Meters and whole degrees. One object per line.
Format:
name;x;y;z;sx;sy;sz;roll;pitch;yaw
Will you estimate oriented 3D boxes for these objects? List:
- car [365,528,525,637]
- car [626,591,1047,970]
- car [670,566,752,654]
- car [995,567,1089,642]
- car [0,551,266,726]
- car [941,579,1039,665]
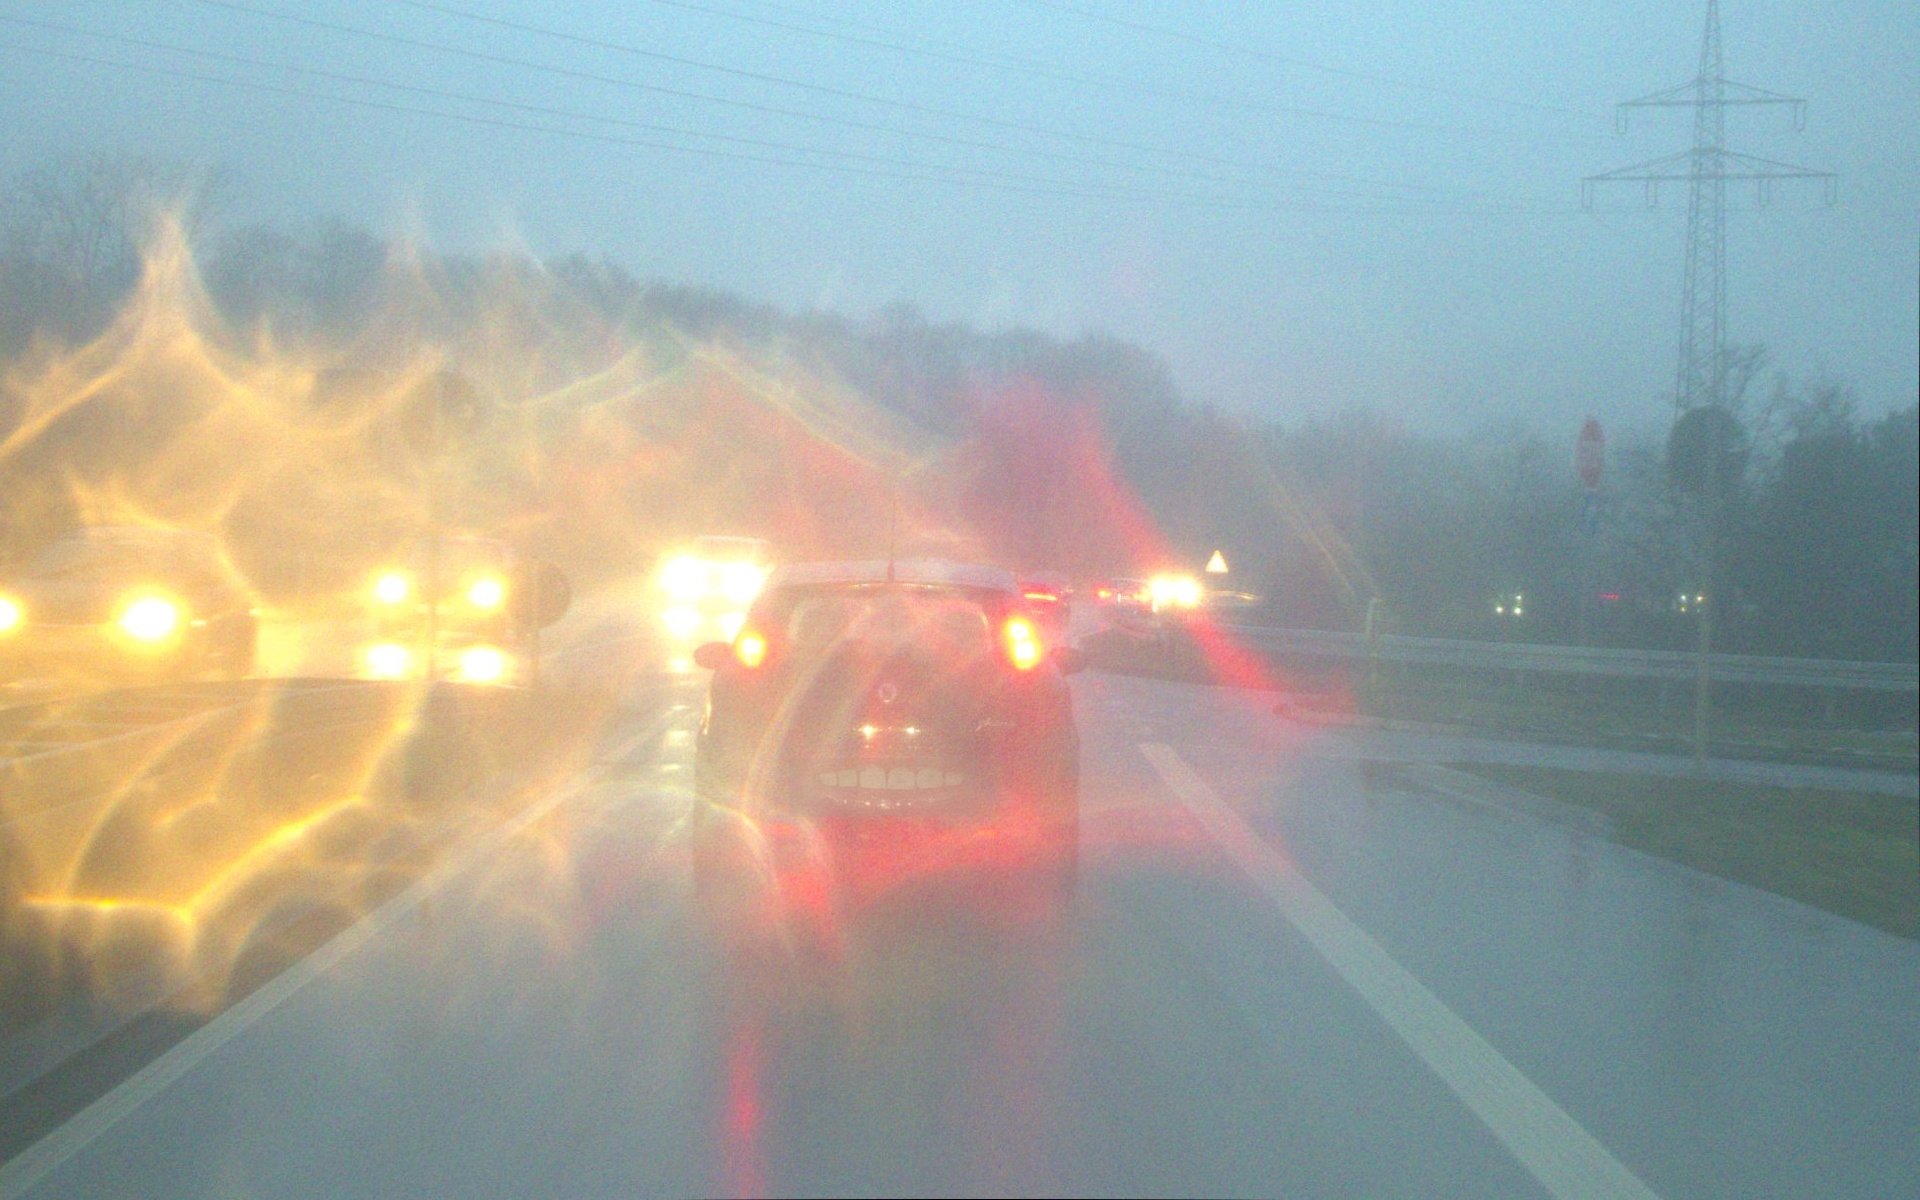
car;-7.276;-0.260;48.889;1.646;1.496;4.000;0;1;0
car;-0.500;0.739;16.185;1.730;1.527;4.042;0;1;0
car;-6.224;0.211;86.350;1.871;2.130;5.180;0;1;-2
car;2.257;0.111;93.706;1.947;1.738;3.999;8;1;7
car;-7.689;0.300;31.254;1.993;1.467;4.473;1;1;-2
car;0.697;0.464;75.979;1.946;1.739;4.000;3;0;2
